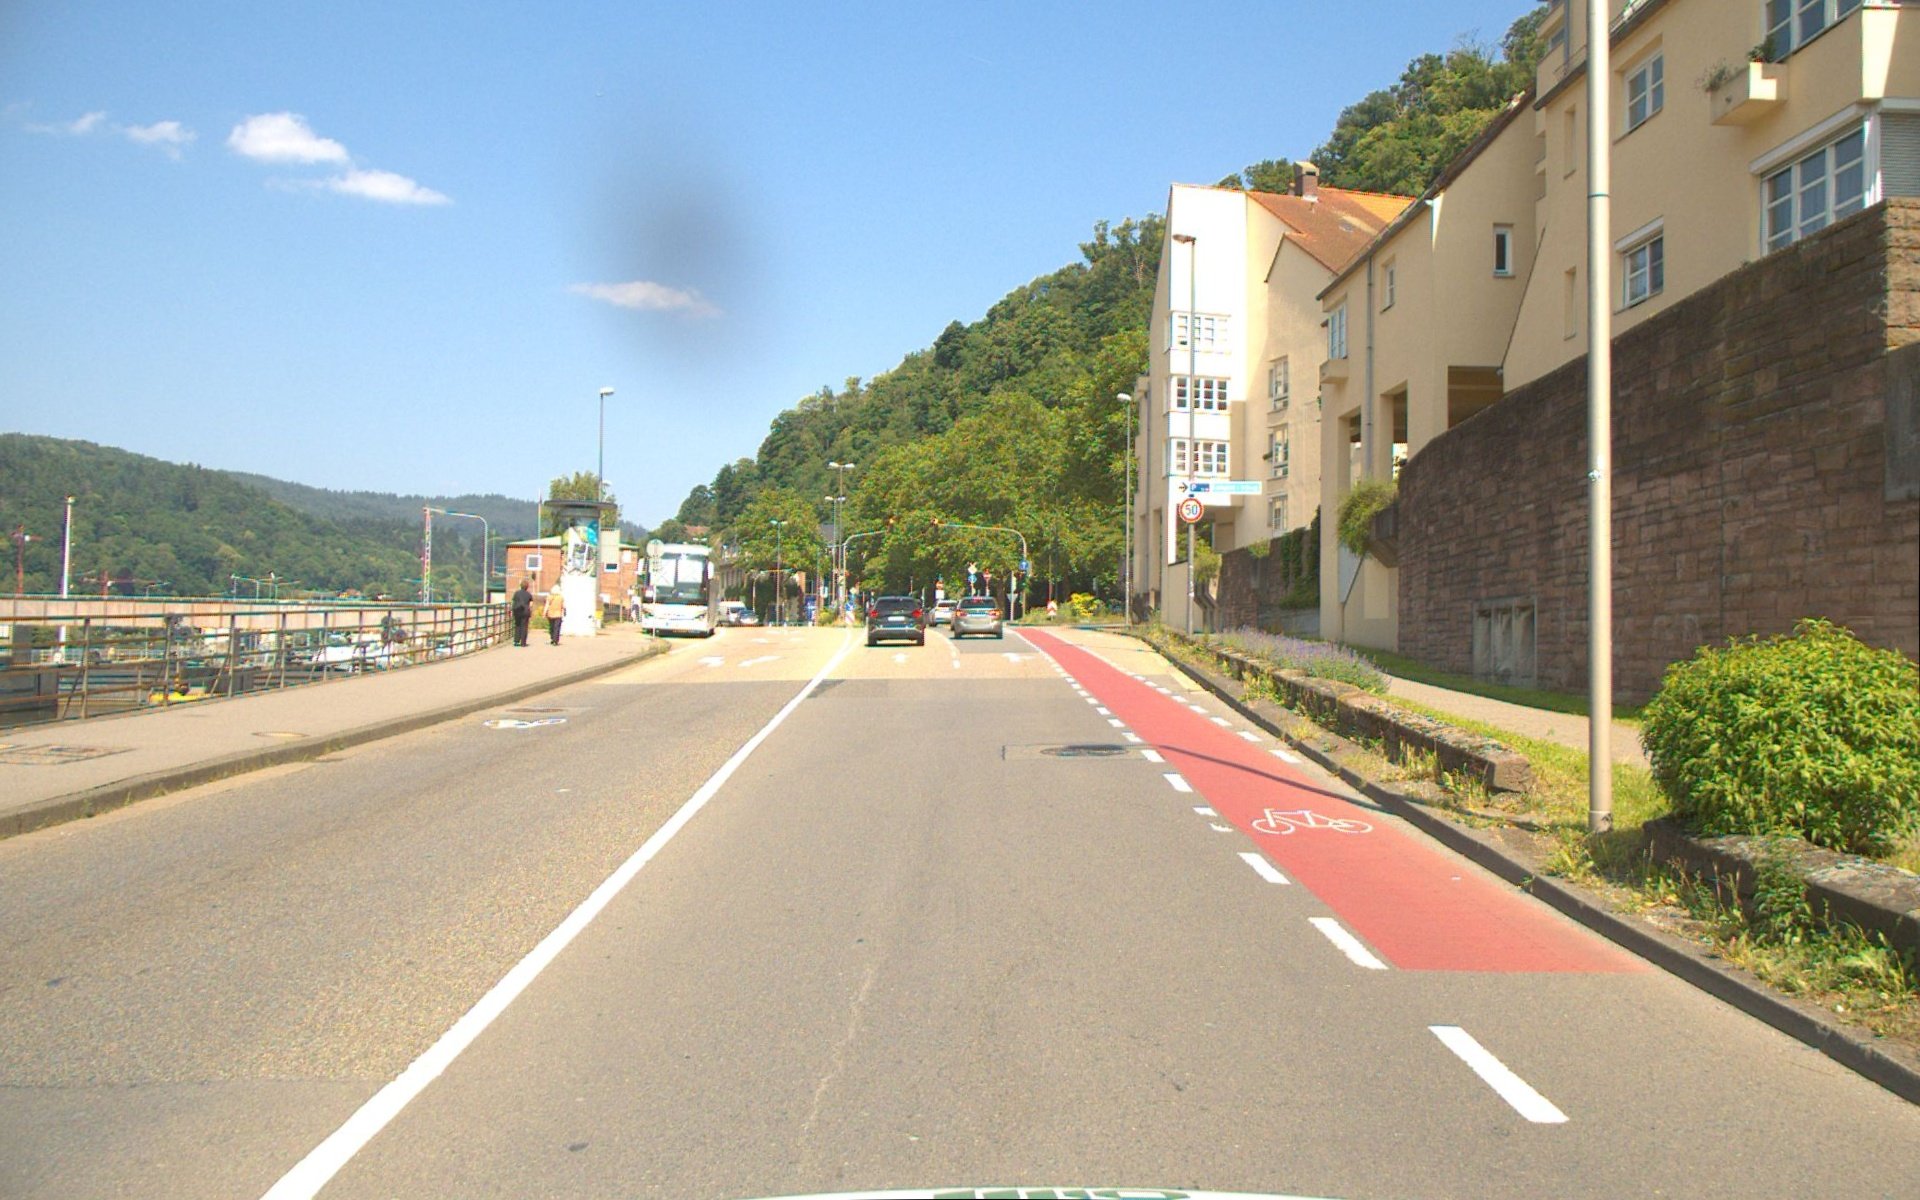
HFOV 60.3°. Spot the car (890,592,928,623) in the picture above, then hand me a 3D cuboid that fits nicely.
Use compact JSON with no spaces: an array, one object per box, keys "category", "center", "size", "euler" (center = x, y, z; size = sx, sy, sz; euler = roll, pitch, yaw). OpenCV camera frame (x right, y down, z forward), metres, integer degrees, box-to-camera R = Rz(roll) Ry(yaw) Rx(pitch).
[{"category":"car","center":[-2.711,0.386,86.776],"size":[1.830,1.589,3.997],"euler":[0,0,-4]}]

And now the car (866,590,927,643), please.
[{"category":"car","center":[-1.963,0.519,51.859],"size":[1.831,1.540,4.149],"euler":[1,-1,-2]}]

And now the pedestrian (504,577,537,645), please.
[{"category":"pedestrian","center":[-11.342,0.283,42.719],"size":[0.669,1.739,0.773],"euler":[0,-1,-4]}]

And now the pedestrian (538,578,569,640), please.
[{"category":"pedestrian","center":[-10.895,0.249,44.337],"size":[0.689,1.649,0.815],"euler":[0,-1,-8]}]

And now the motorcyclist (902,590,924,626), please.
[{"category":"motorcyclist","center":[-2.319,0.381,80.824],"size":[1.054,1.714,1.155],"euler":[0,0,-2]}]

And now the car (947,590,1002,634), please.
[{"category":"car","center":[0.512,0.448,61.428],"size":[1.850,1.548,4.304],"euler":[1,-1,-2]}]

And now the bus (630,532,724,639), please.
[{"category":"bus","center":[-11.682,-0.558,69.458],"size":[2.900,3.866,13.224],"euler":[4,-1,-7]}]

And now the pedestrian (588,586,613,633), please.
[{"category":"pedestrian","center":[-14.216,0.375,65.391],"size":[0.875,1.827,1.039],"euler":[0,-1,-8]}]

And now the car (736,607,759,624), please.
[{"category":"car","center":[-19.221,1.381,149.650],"size":[1.956,1.457,4.159],"euler":[-1,0,-8]}]

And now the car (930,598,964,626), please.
[{"category":"car","center":[-0.758,0.692,95.097],"size":[1.750,1.559,4.734],"euler":[-1,-1,-3]}]
